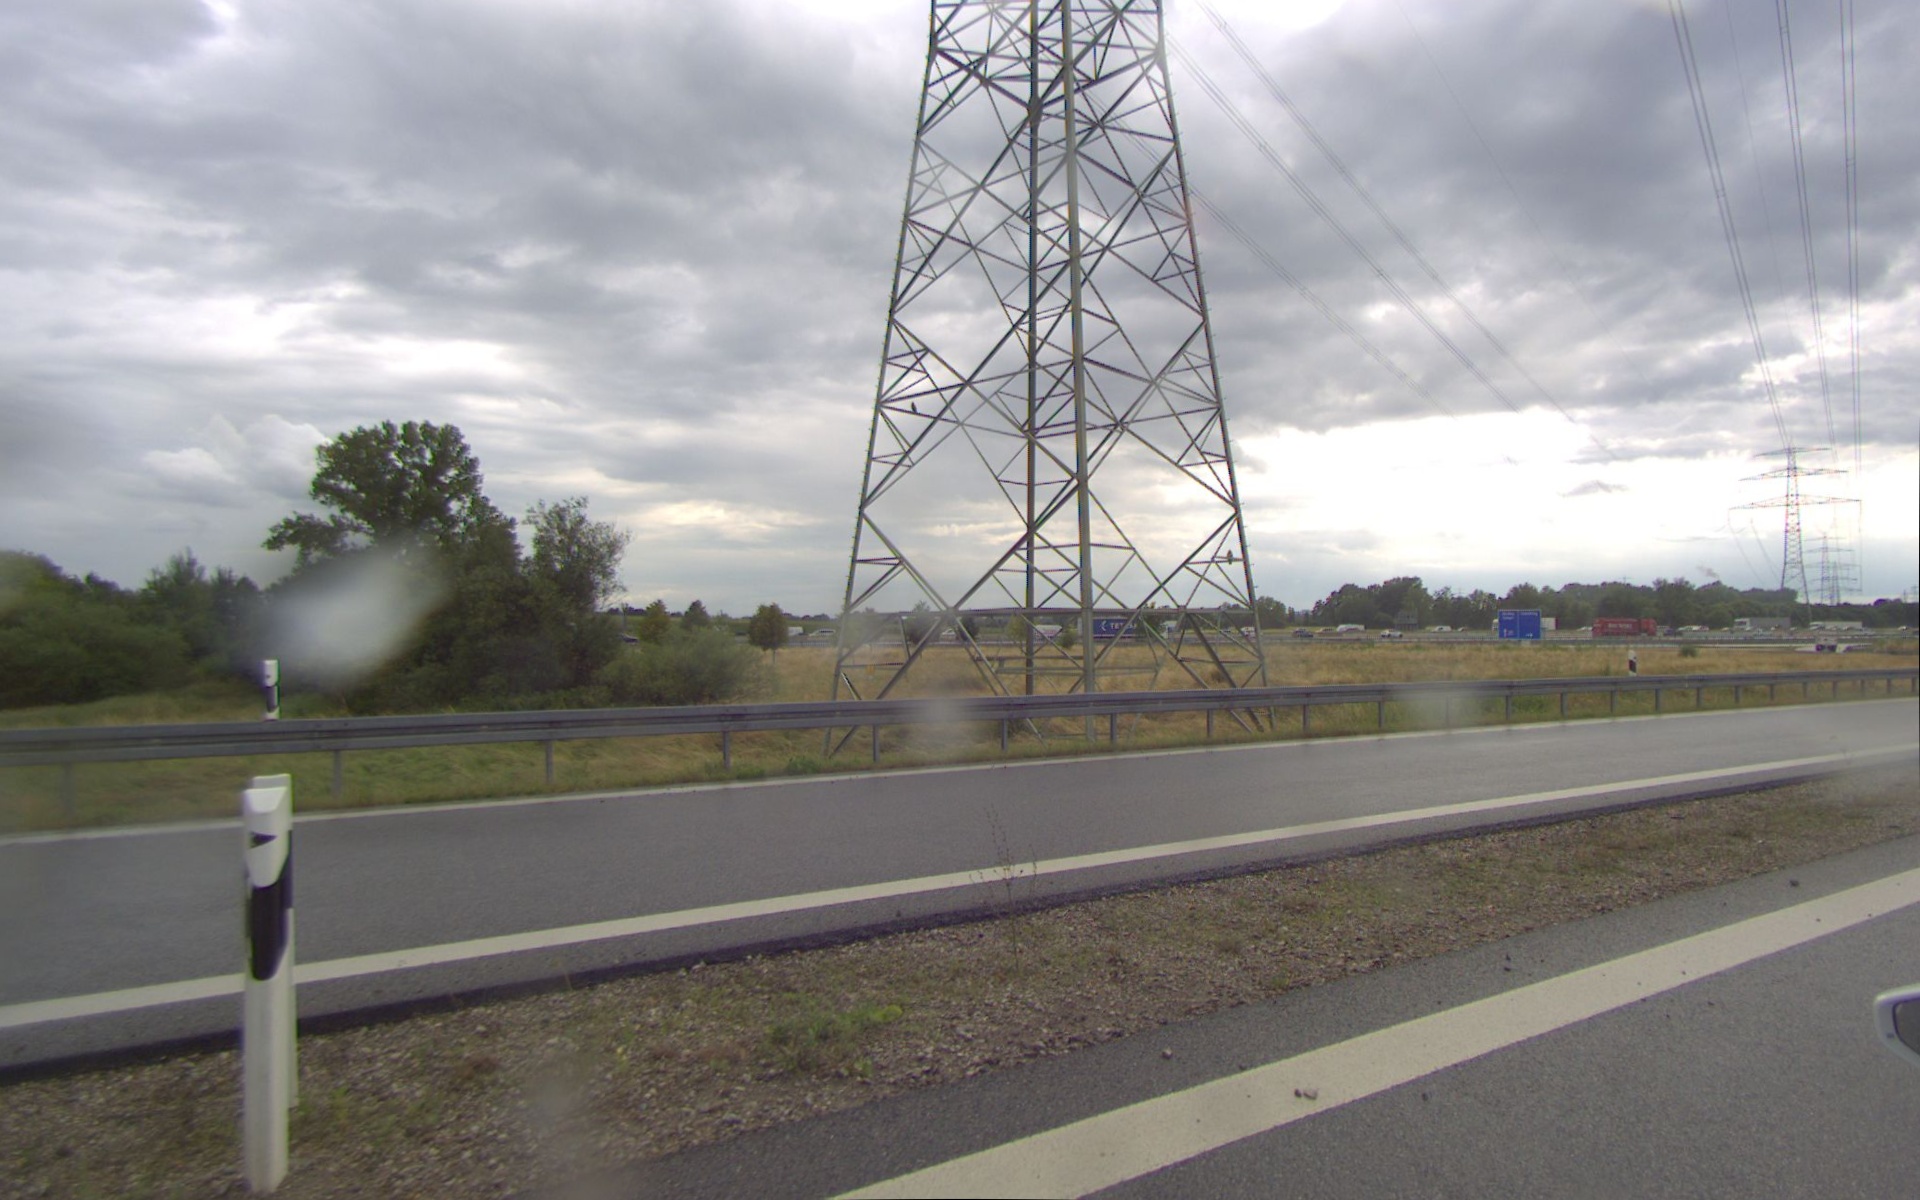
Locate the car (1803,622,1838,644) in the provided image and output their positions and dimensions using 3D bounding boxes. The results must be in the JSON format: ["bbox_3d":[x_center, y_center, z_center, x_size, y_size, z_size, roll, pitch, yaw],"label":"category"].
[{"bbox_3d":[143.311,5.514,167.420,3.337,3.658,9.019,-1,-2,34],"label":"car"}]

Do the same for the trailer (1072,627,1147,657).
[{"bbox_3d":[26.133,7.330,175.266,13.095,4.697,3.045,-1,0,-19],"label":"trailer"}]

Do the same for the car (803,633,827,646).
[{"bbox_3d":[-25.468,6.924,176.584,3.934,2.040,1.994,-1,0,-16],"label":"car"}]

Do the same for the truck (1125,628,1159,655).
[{"bbox_3d":[32.079,7.231,177.326,4.992,4.539,3.066,-1,0,-18],"label":"truck"}]
